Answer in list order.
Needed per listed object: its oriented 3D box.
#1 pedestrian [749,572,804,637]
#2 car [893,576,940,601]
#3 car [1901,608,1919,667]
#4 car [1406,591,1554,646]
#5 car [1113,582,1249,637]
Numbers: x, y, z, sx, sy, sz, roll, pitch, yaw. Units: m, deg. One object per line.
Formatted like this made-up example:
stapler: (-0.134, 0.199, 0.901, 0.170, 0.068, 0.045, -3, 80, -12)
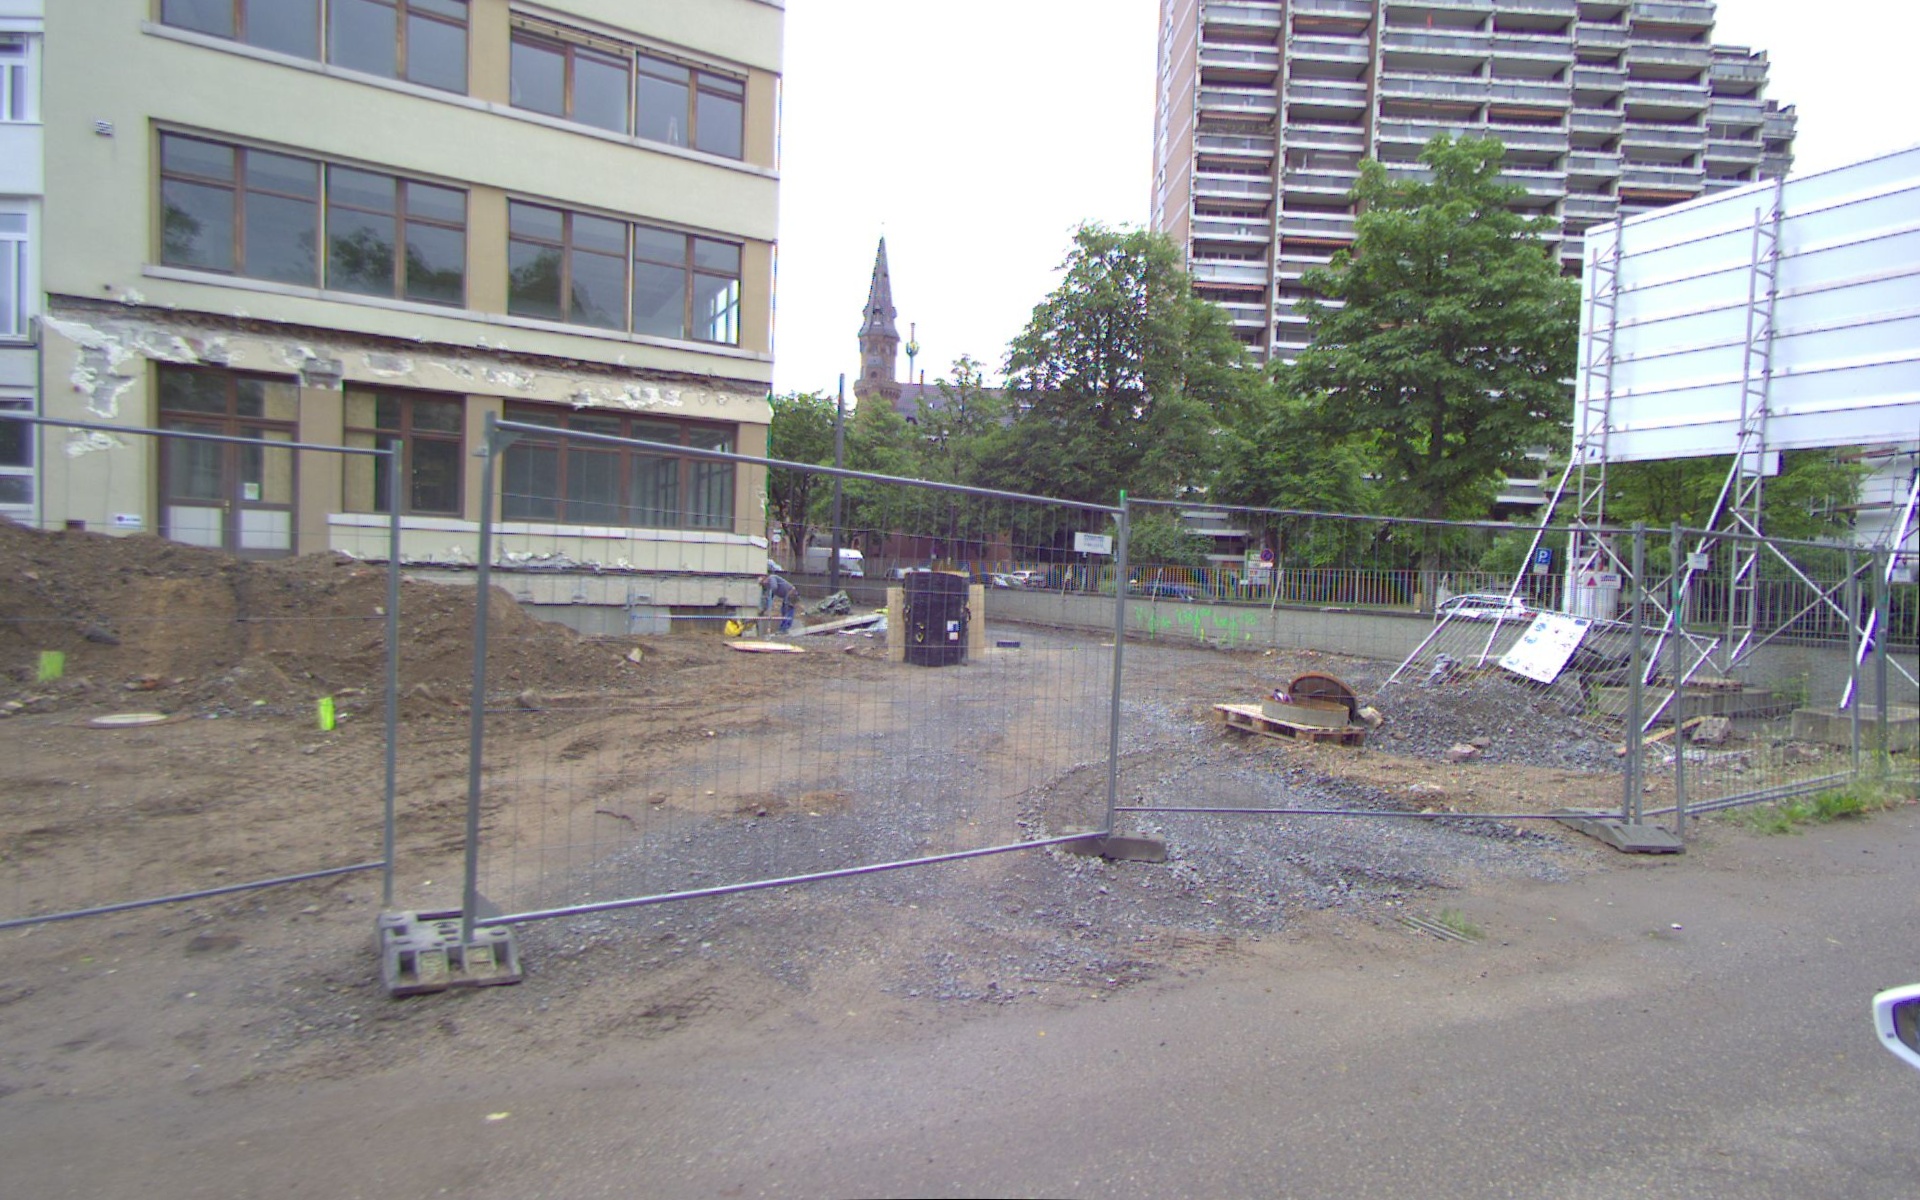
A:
pedestrian: (-4.286, 0.101, 23.439, 0.972, 1.457, 0.922, 2, 1, -32)
car: (-3.002, -0.807, 68.442, 1.583, 1.539, 3.970, 1, 1, -28)
car: (25.948, 1.026, 25.536, 1.586, 1.557, 3.337, 2, 1, 17)
car: (16.718, 0.567, 32.472, 1.709, 1.539, 3.971, 1, 1, -27)
car: (6.511, 0.252, 30.000, 1.811, 1.437, 3.970, 1, 1, -28)
